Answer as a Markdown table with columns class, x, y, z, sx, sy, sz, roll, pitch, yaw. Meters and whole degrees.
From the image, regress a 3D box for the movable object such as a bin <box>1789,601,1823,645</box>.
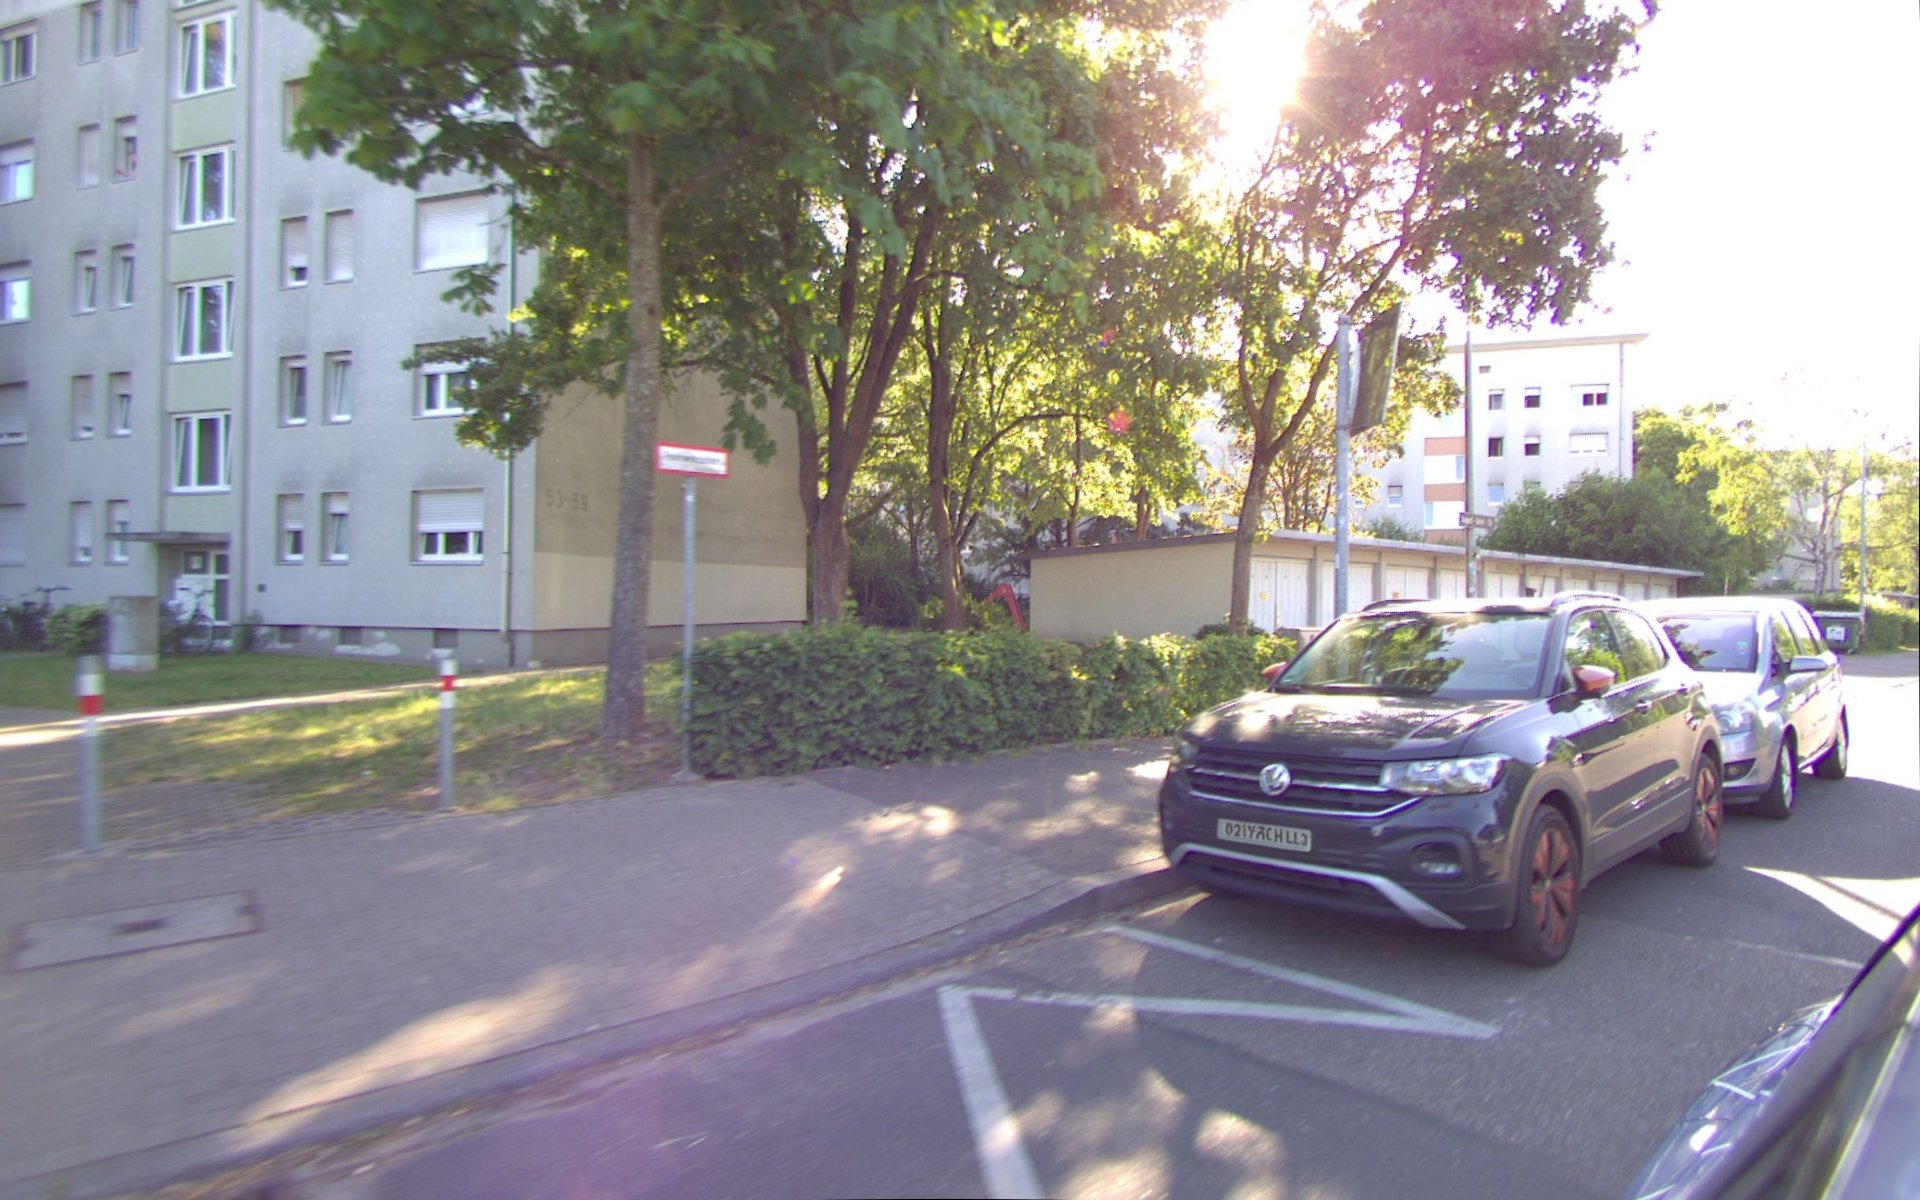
| class | x | y | z | sx | sy | sz | roll | pitch | yaw |
| --- | --- | --- | --- | --- | --- | --- | --- | --- | --- |
| movable object such as a bin | 29.290 | 0.775 | 35.041 | 0.834 | 1.460 | 0.753 | 0 | 2 | -42 |

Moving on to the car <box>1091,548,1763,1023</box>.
| class | x | y | z | sx | sy | sz | roll | pitch | yaw |
| --- | --- | --- | --- | --- | --- | --- | --- | --- | --- |
| car | 2.715 | 0.661 | 5.455 | 3.953 | 1.614 | 1.807 | 0 | -2 | -41 |

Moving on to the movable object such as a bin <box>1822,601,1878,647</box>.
| class | x | y | z | sx | sy | sz | roll | pitch | yaw |
| --- | --- | --- | --- | --- | --- | --- | --- | --- | --- |
| movable object such as a bin | 30.320 | 0.789 | 34.475 | 1.159 | 1.460 | 1.276 | 0 | 2 | -42 |

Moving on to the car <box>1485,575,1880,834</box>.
| class | x | y | z | sx | sy | sz | roll | pitch | yaw |
| --- | --- | --- | --- | --- | --- | --- | --- | --- | --- |
| car | 6.216 | 0.667 | 8.500 | 4.297 | 1.631 | 1.770 | -1 | -2 | -42 |

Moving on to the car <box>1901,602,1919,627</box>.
| class | x | y | z | sx | sy | sz | roll | pitch | yaw |
| --- | --- | --- | --- | --- | --- | --- | --- | --- | --- |
| car | 59.278 | 0.853 | 61.145 | 3.494 | 1.527 | 1.577 | -3 | -2 | 44 |
